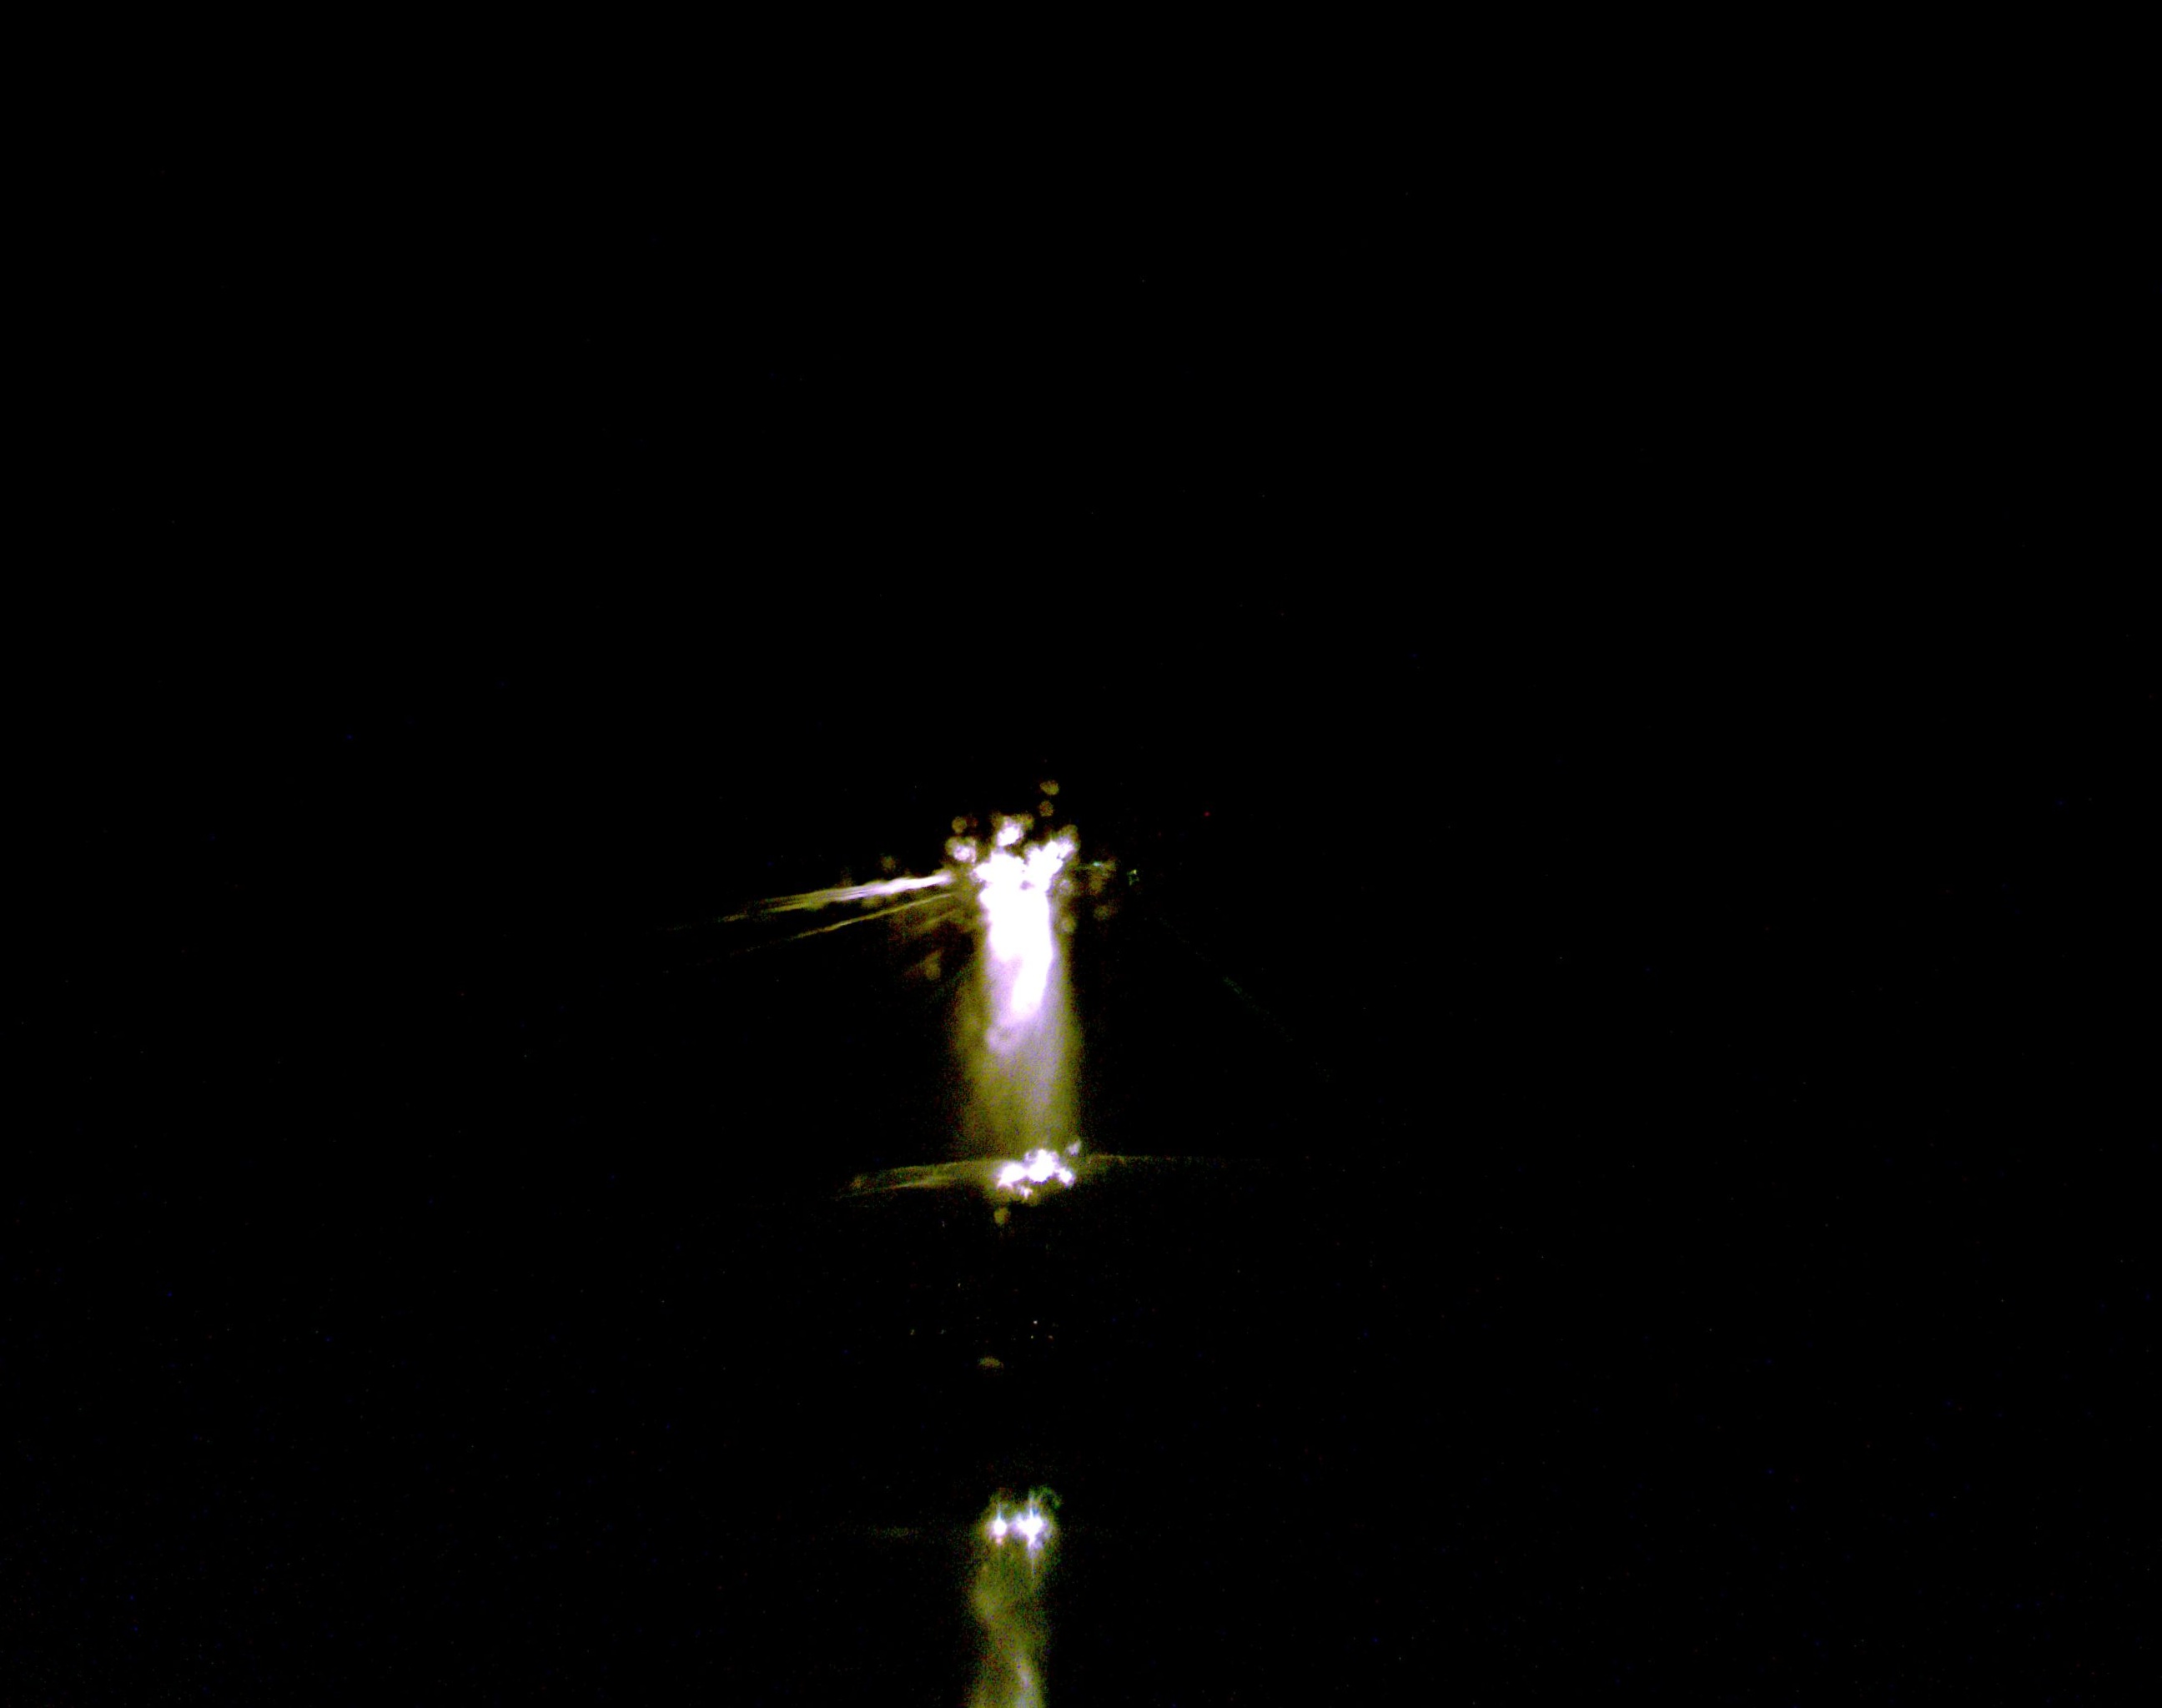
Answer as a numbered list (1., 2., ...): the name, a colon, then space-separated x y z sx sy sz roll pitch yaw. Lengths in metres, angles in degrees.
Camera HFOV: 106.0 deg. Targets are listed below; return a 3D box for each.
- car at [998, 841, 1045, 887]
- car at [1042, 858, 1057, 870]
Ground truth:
1. car: -3.063 0.466 43.165 1.987 2.272 5.468 -1 0 1
2. car: -4.512 1.406 116.900 1.920 1.574 4.346 -1 0 -1
